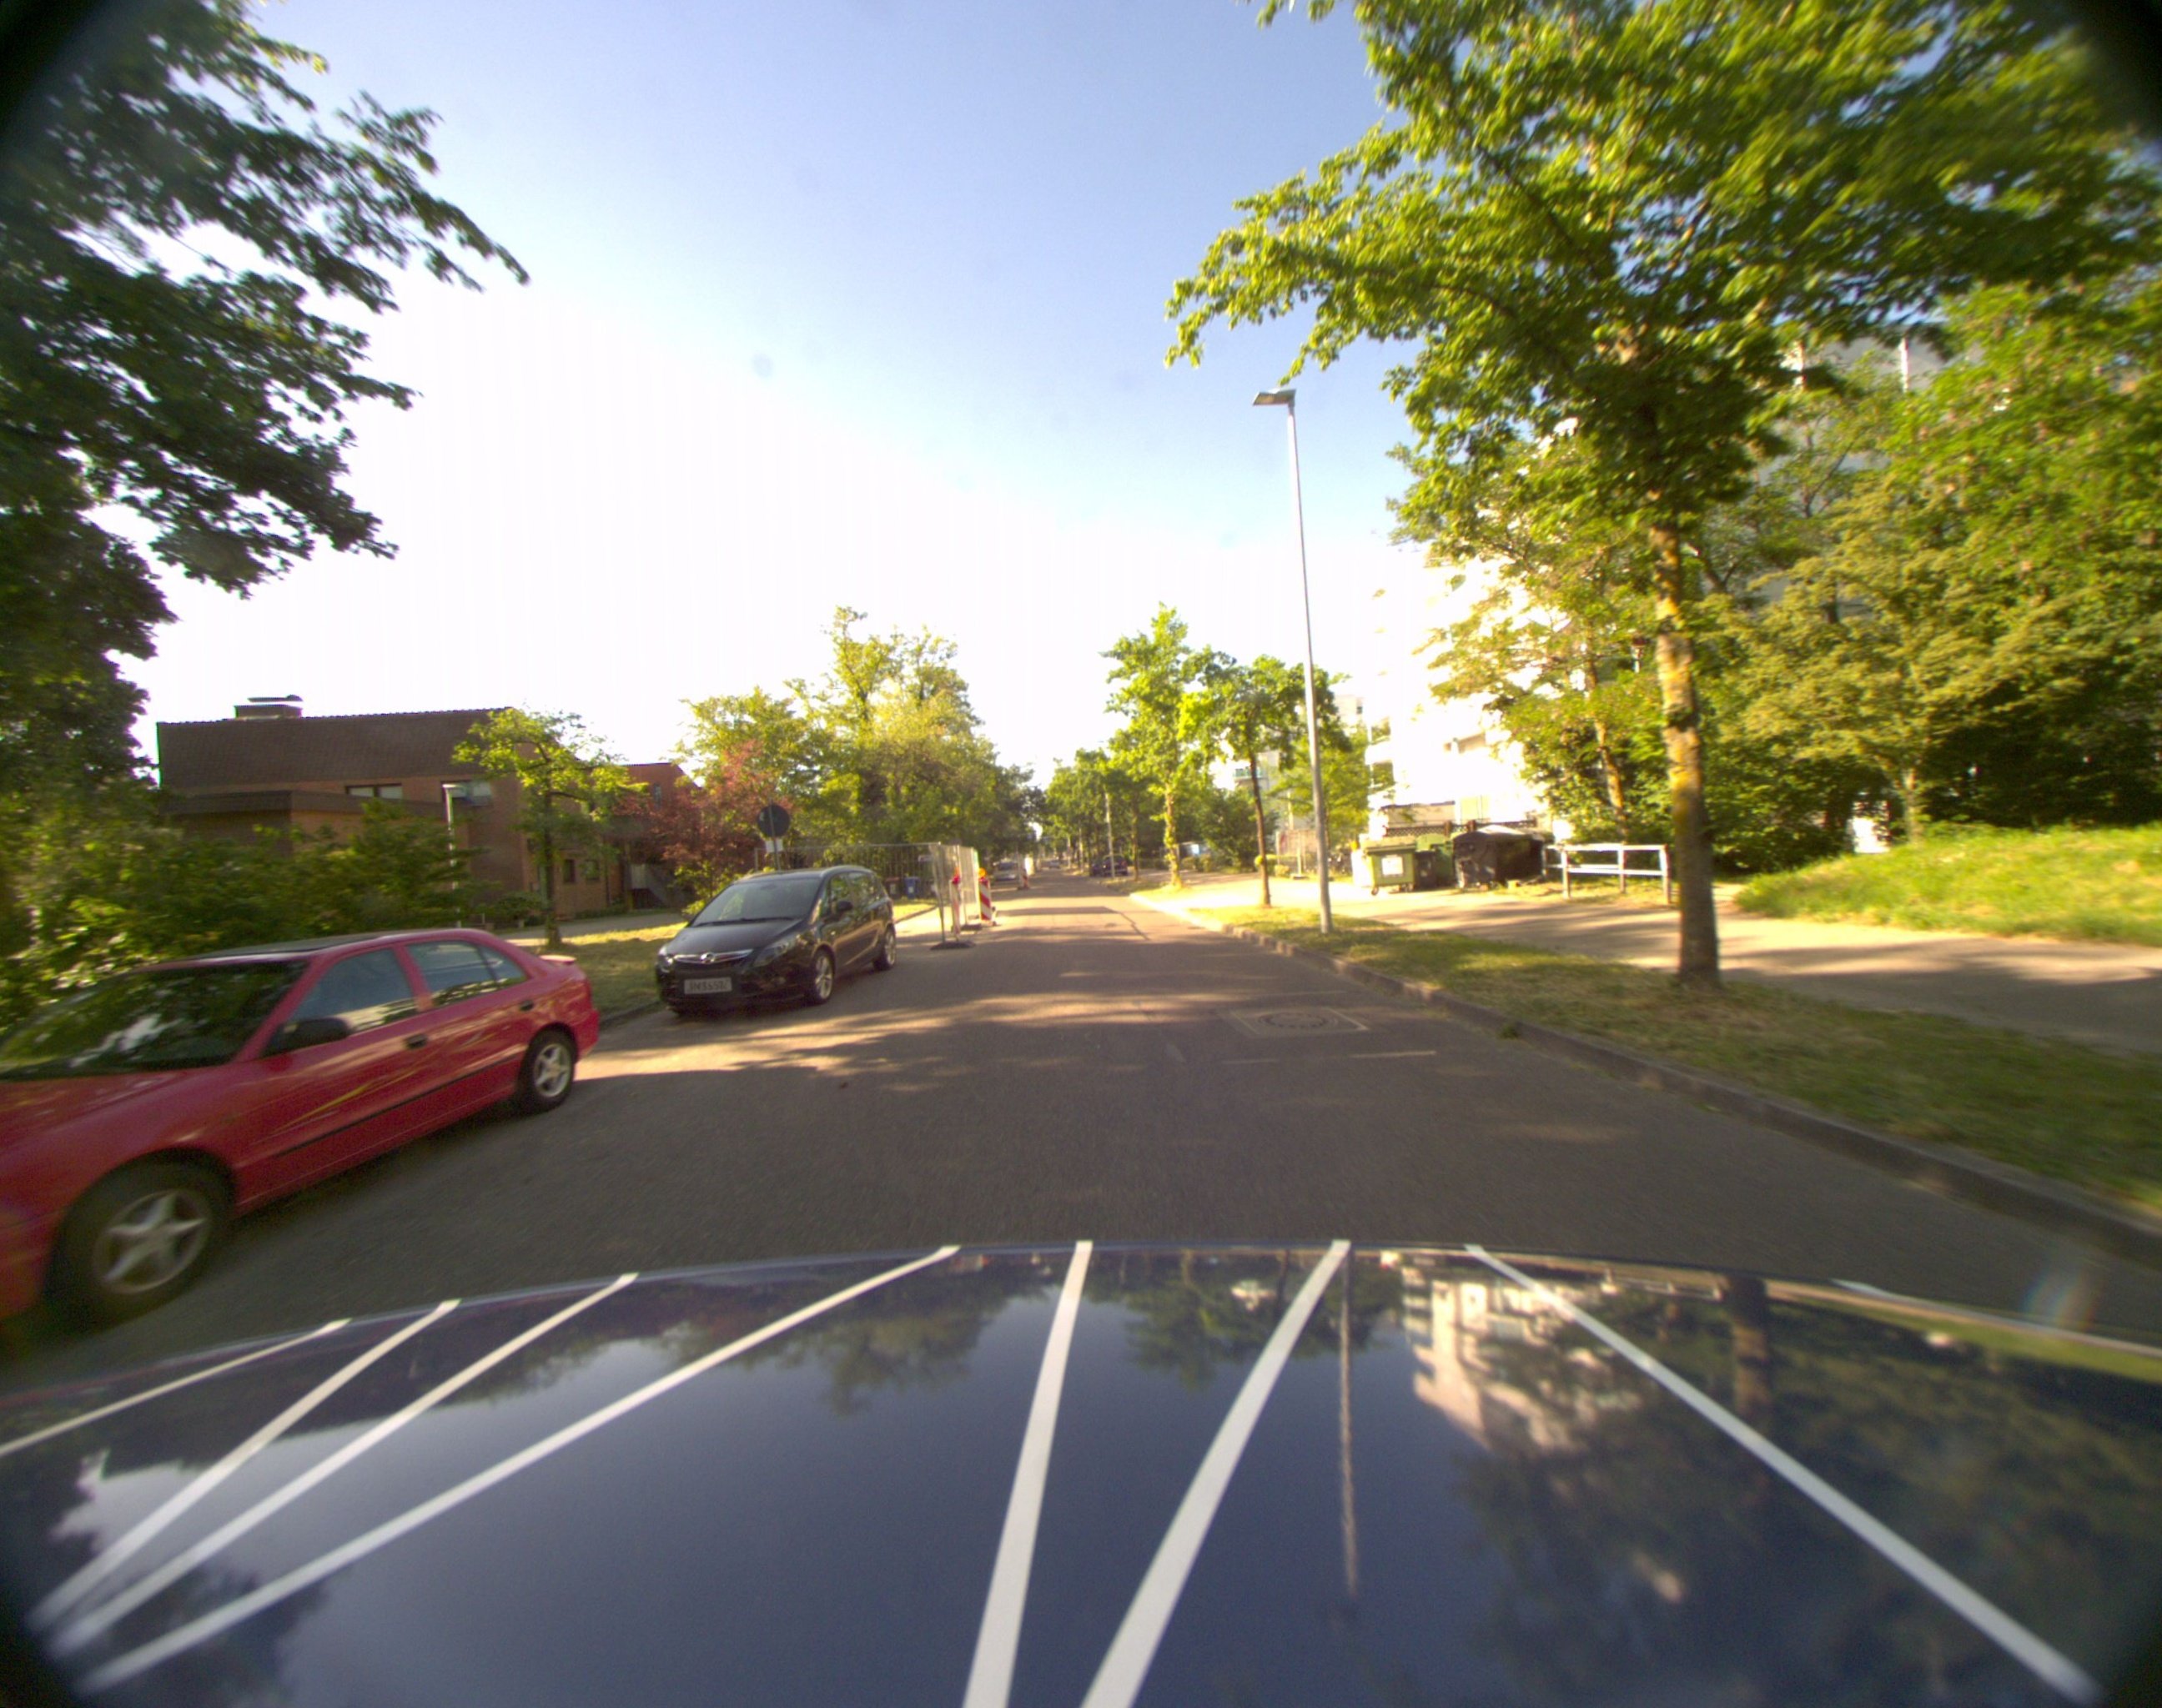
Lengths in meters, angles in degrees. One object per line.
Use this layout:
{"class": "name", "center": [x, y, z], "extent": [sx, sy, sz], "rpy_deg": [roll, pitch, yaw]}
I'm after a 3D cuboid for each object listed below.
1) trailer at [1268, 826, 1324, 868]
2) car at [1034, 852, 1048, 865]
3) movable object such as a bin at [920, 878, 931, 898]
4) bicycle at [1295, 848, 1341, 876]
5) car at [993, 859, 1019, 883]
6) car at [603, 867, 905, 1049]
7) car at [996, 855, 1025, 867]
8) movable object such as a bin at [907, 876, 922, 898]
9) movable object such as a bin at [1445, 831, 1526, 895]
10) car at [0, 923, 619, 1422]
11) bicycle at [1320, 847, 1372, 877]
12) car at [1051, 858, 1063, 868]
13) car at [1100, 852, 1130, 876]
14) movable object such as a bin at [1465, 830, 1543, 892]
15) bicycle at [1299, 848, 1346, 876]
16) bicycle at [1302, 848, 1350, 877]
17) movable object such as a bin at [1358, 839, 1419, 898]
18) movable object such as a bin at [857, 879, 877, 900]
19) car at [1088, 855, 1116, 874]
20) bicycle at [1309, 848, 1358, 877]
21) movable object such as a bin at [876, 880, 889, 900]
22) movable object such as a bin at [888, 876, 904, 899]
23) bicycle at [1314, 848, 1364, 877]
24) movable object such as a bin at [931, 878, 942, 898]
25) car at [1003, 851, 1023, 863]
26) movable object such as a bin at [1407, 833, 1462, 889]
{"class": "trailer", "center": [12.017, -0.383, 42.791], "extent": [1.868, 2.108, 4.346], "rpy_deg": [-5, 0, 2]}
{"class": "car", "center": [-6.329, 0.705, 119.216], "extent": [1.999, 1.871, 3.999], "rpy_deg": [-2, 0, -1]}
{"class": "movable object such as a bin", "center": [-7.063, 1.556, 34.531], "extent": [0.414, 0.865, 0.484], "rpy_deg": [-2, 1, -1]}
{"class": "bicycle", "center": [9.859, 0.326, 31.617], "extent": [1.876, 1.021, 0.400], "rpy_deg": [-4, 1, -14]}
{"class": "car", "center": [-5.708, 1.271, 58.429], "extent": [1.683, 1.612, 4.136], "rpy_deg": [-5, 0, -3]}
{"class": "car", "center": [-3.910, 1.123, 10.097], "extent": [1.814, 1.641, 4.421], "rpy_deg": [-5, 0, 2]}
{"class": "car", "center": [-13.551, 1.377, 146.348], "extent": [5.270, 1.993, 1.999], "rpy_deg": [-2, 0, -4]}
{"class": "movable object such as a bin", "center": [-7.589, 1.506, 34.684], "extent": [0.520, 0.994, 0.608], "rpy_deg": [-2, 1, -1]}
{"class": "movable object such as a bin", "center": [9.629, 0.208, 18.112], "extent": [1.147, 1.427, 1.270], "rpy_deg": [-3, 0, -35]}
{"class": "car", "center": [-4.597, 1.316, 4.104], "extent": [1.666, 1.367, 4.154], "rpy_deg": [-5, 0, -2]}
{"class": "bicycle", "center": [10.069, 0.290, 28.848], "extent": [1.921, 1.021, 0.400], "rpy_deg": [-4, 1, -15]}
{"class": "car", "center": [-4.108, 1.481, 130.682], "extent": [1.664, 1.587, 4.006], "rpy_deg": [-2, 0, -6]}
{"class": "car", "center": [2.487, 0.716, 56.866], "extent": [1.780, 1.612, 4.219], "rpy_deg": [-5, 0, -2]}
{"class": "movable object such as a bin", "center": [10.488, 0.178, 18.852], "extent": [1.147, 1.427, 1.270], "rpy_deg": [-3, 0, -35]}
{"class": "bicycle", "center": [9.754, 0.317, 30.671], "extent": [1.862, 1.021, 0.400], "rpy_deg": [-4, 1, -14]}
{"class": "bicycle", "center": [9.743, 0.323, 30.197], "extent": [1.845, 1.021, 0.400], "rpy_deg": [-4, 1, -14]}
{"class": "movable object such as a bin", "center": [7.936, 0.360, 19.678], "extent": [1.271, 1.427, 1.182], "rpy_deg": [-3, 0, 14]}
{"class": "movable object such as a bin", "center": [-9.697, 1.606, 34.486], "extent": [0.696, 0.923, 0.695], "rpy_deg": [-2, 1, -1]}
{"class": "car", "center": [1.751, 0.867, 63.314], "extent": [1.721, 1.424, 4.135], "rpy_deg": [-5, 0, -5]}
{"class": "bicycle", "center": [9.869, 0.321, 29.729], "extent": [1.866, 1.021, 0.400], "rpy_deg": [-4, 1, -14]}
{"class": "movable object such as a bin", "center": [-9.017, 1.639, 34.479], "extent": [0.419, 0.865, 0.525], "rpy_deg": [-2, 1, -1]}
{"class": "movable object such as a bin", "center": [-8.439, 1.532, 34.602], "extent": [0.564, 0.994, 0.608], "rpy_deg": [-2, 1, -1]}
{"class": "bicycle", "center": [9.957, 0.316, 29.310], "extent": [1.844, 1.021, 0.400], "rpy_deg": [-4, 1, -14]}
{"class": "movable object such as a bin", "center": [-6.573, 1.540, 34.617], "extent": [0.414, 0.865, 0.484], "rpy_deg": [-2, 1, -1]}
{"class": "car", "center": [-15.470, 0.670, 173.709], "extent": [4.413, 2.531, 1.888], "rpy_deg": [-2, 0, -6]}
{"class": "movable object such as a bin", "center": [9.718, 0.188, 20.876], "extent": [1.270, 1.427, 1.328], "rpy_deg": [-3, 0, 26]}
